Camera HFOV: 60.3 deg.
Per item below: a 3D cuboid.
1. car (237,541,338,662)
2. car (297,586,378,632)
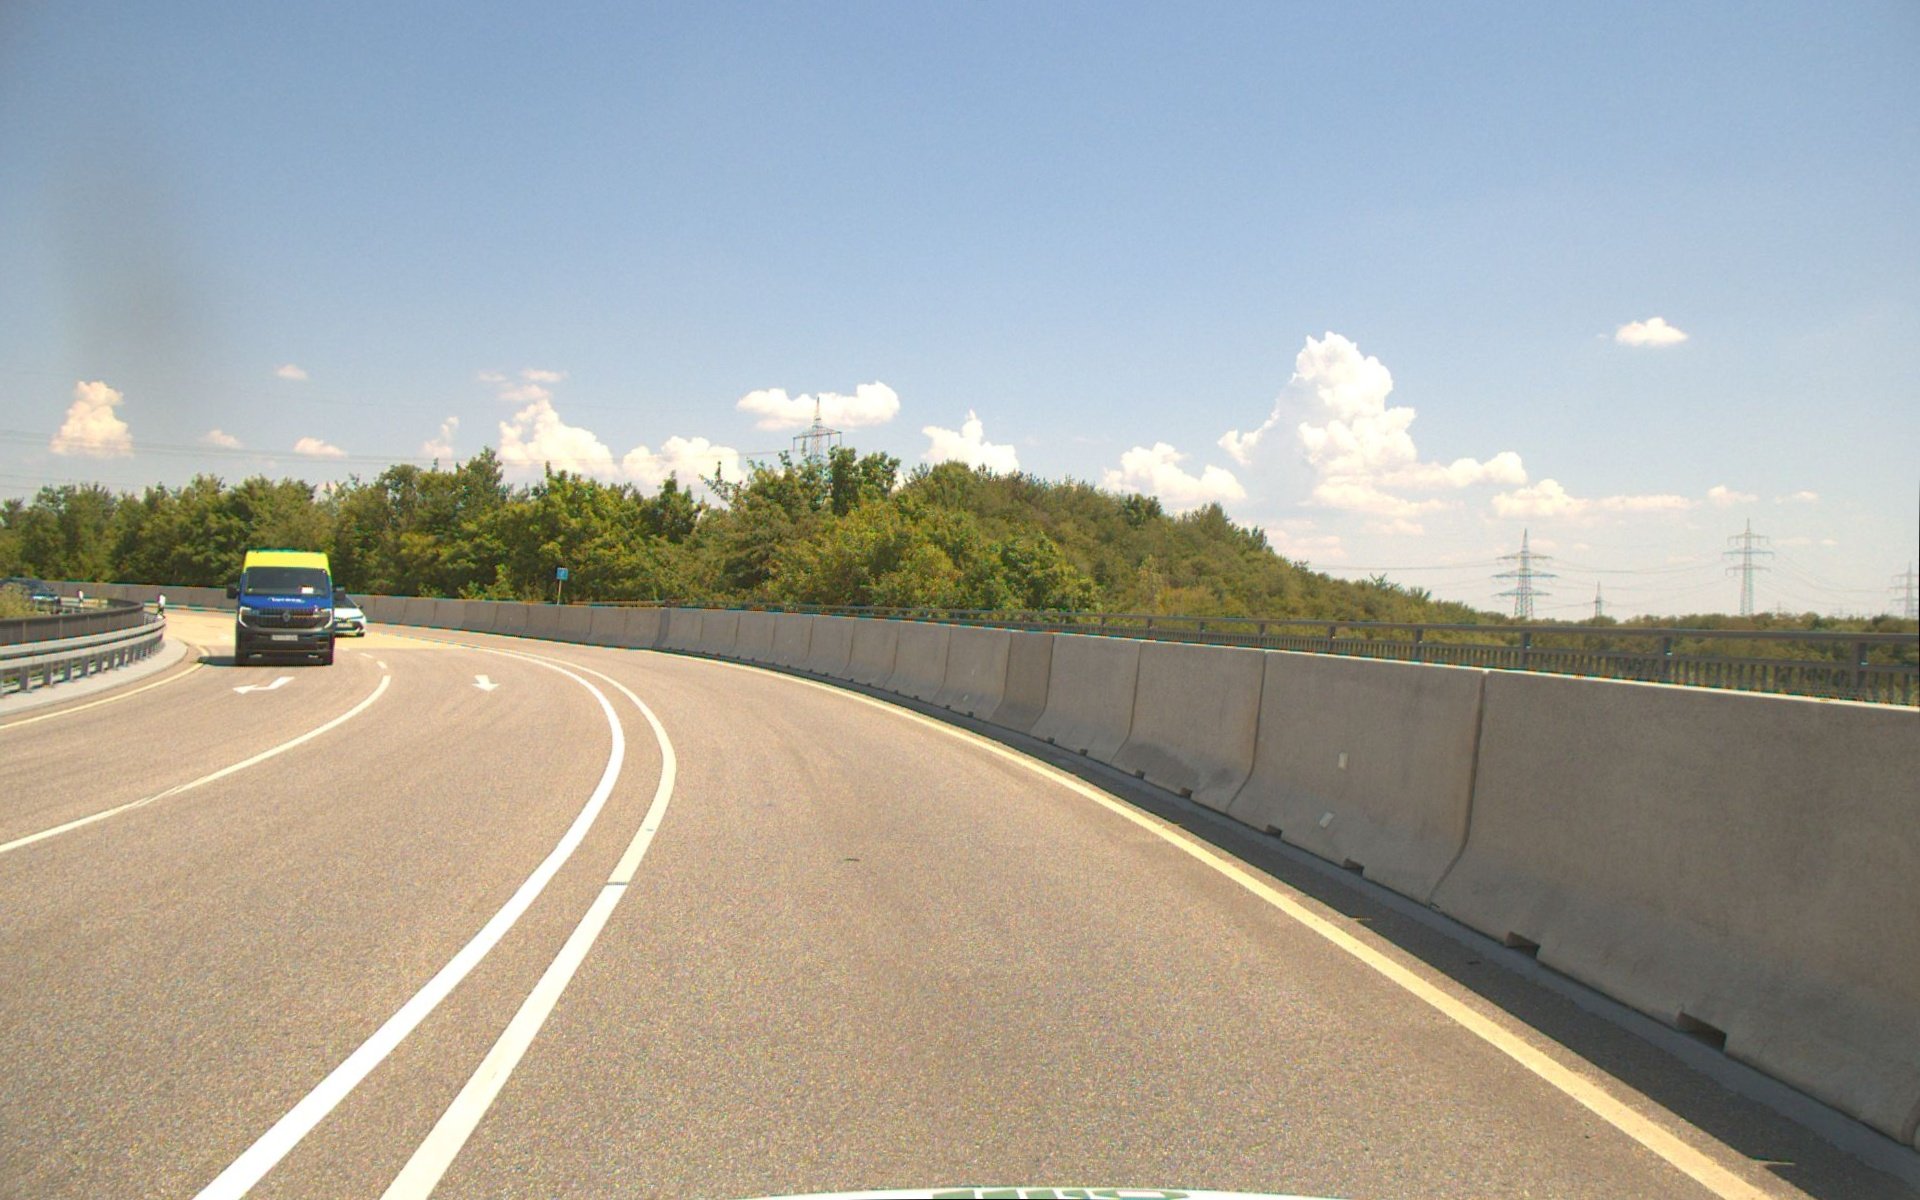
[{"bbox_3d":[-15.285,-0.012,37.544,1.966,2.527,5.443,0,1,-23],"label":"car"},{"bbox_3d":[-21.495,0.320,57.006,1.726,1.484,4.317,-1,0,-33],"label":"car"}]
